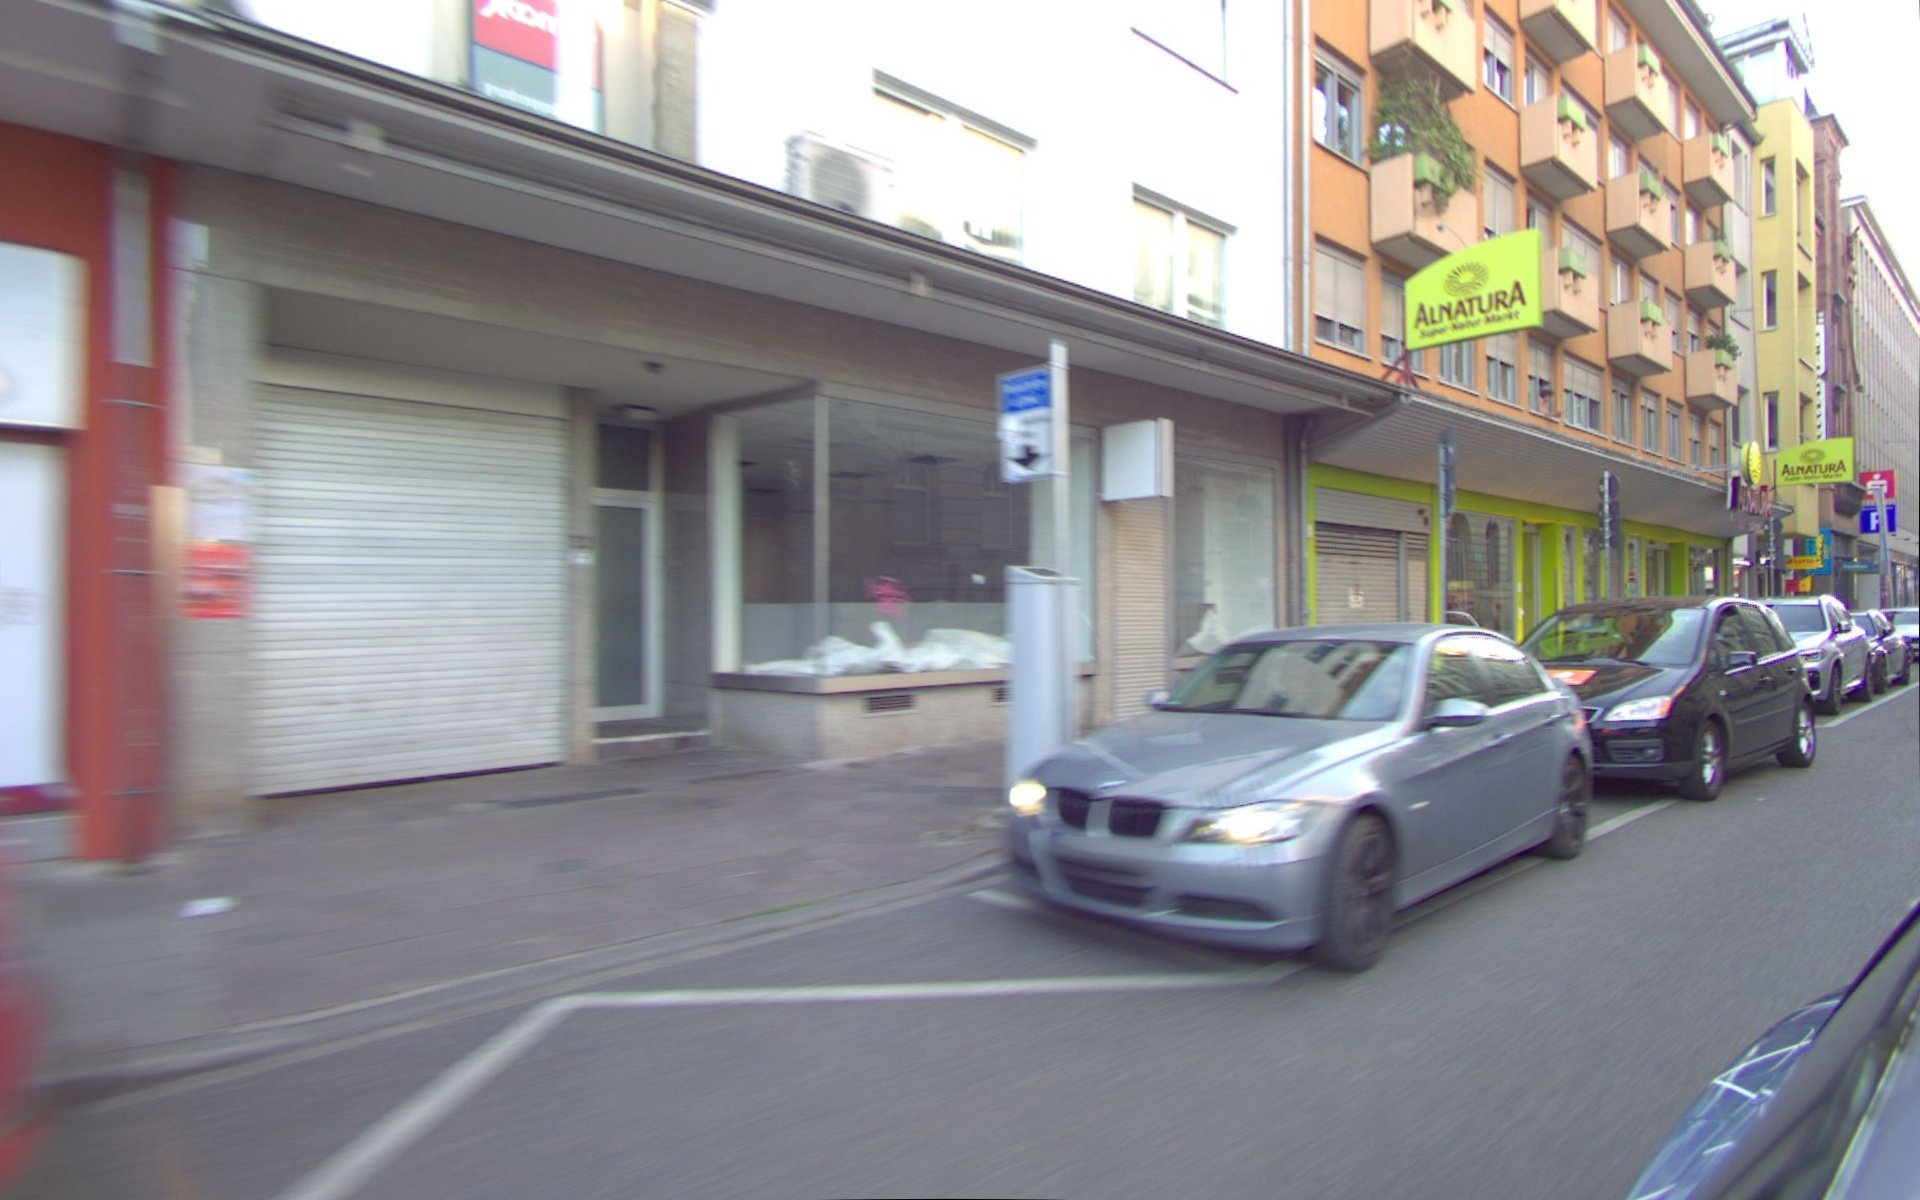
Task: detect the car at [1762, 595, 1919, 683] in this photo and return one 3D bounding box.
[{"bbox_3d":[16.451,0.678,18.652,4.672,1.433,1.694,0,-3,-40],"label":"car"}]

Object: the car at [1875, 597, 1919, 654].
[{"bbox_3d":[25.878,0.653,27.061,4.561,1.429,1.692,1,-3,-44],"label":"car"}]

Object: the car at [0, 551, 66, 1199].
[{"bbox_3d":[-3.850,0.702,0.887,4.572,1.532,1.714,1,-3,-42],"label":"car"}]

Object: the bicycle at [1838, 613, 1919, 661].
[{"bbox_3d":[21.384,0.847,23.240,1.708,1.069,0.658,-1,-1,9],"label":"bicycle"}]

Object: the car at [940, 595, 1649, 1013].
[{"bbox_3d":[2.190,0.750,5.703,4.602,1.434,1.738,1,-3,-42],"label":"car"}]

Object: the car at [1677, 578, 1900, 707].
[{"bbox_3d":[12.751,0.603,15.470,4.672,1.690,1.755,0,-3,-40],"label":"car"}]

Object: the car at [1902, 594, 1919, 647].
[{"bbox_3d":[29.703,0.583,30.408,4.101,1.536,1.620,1,-3,-42],"label":"car"}]

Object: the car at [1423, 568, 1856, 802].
[{"bbox_3d":[6.229,0.631,9.108,4.402,1.631,1.799,0,-3,-36],"label":"car"}]
